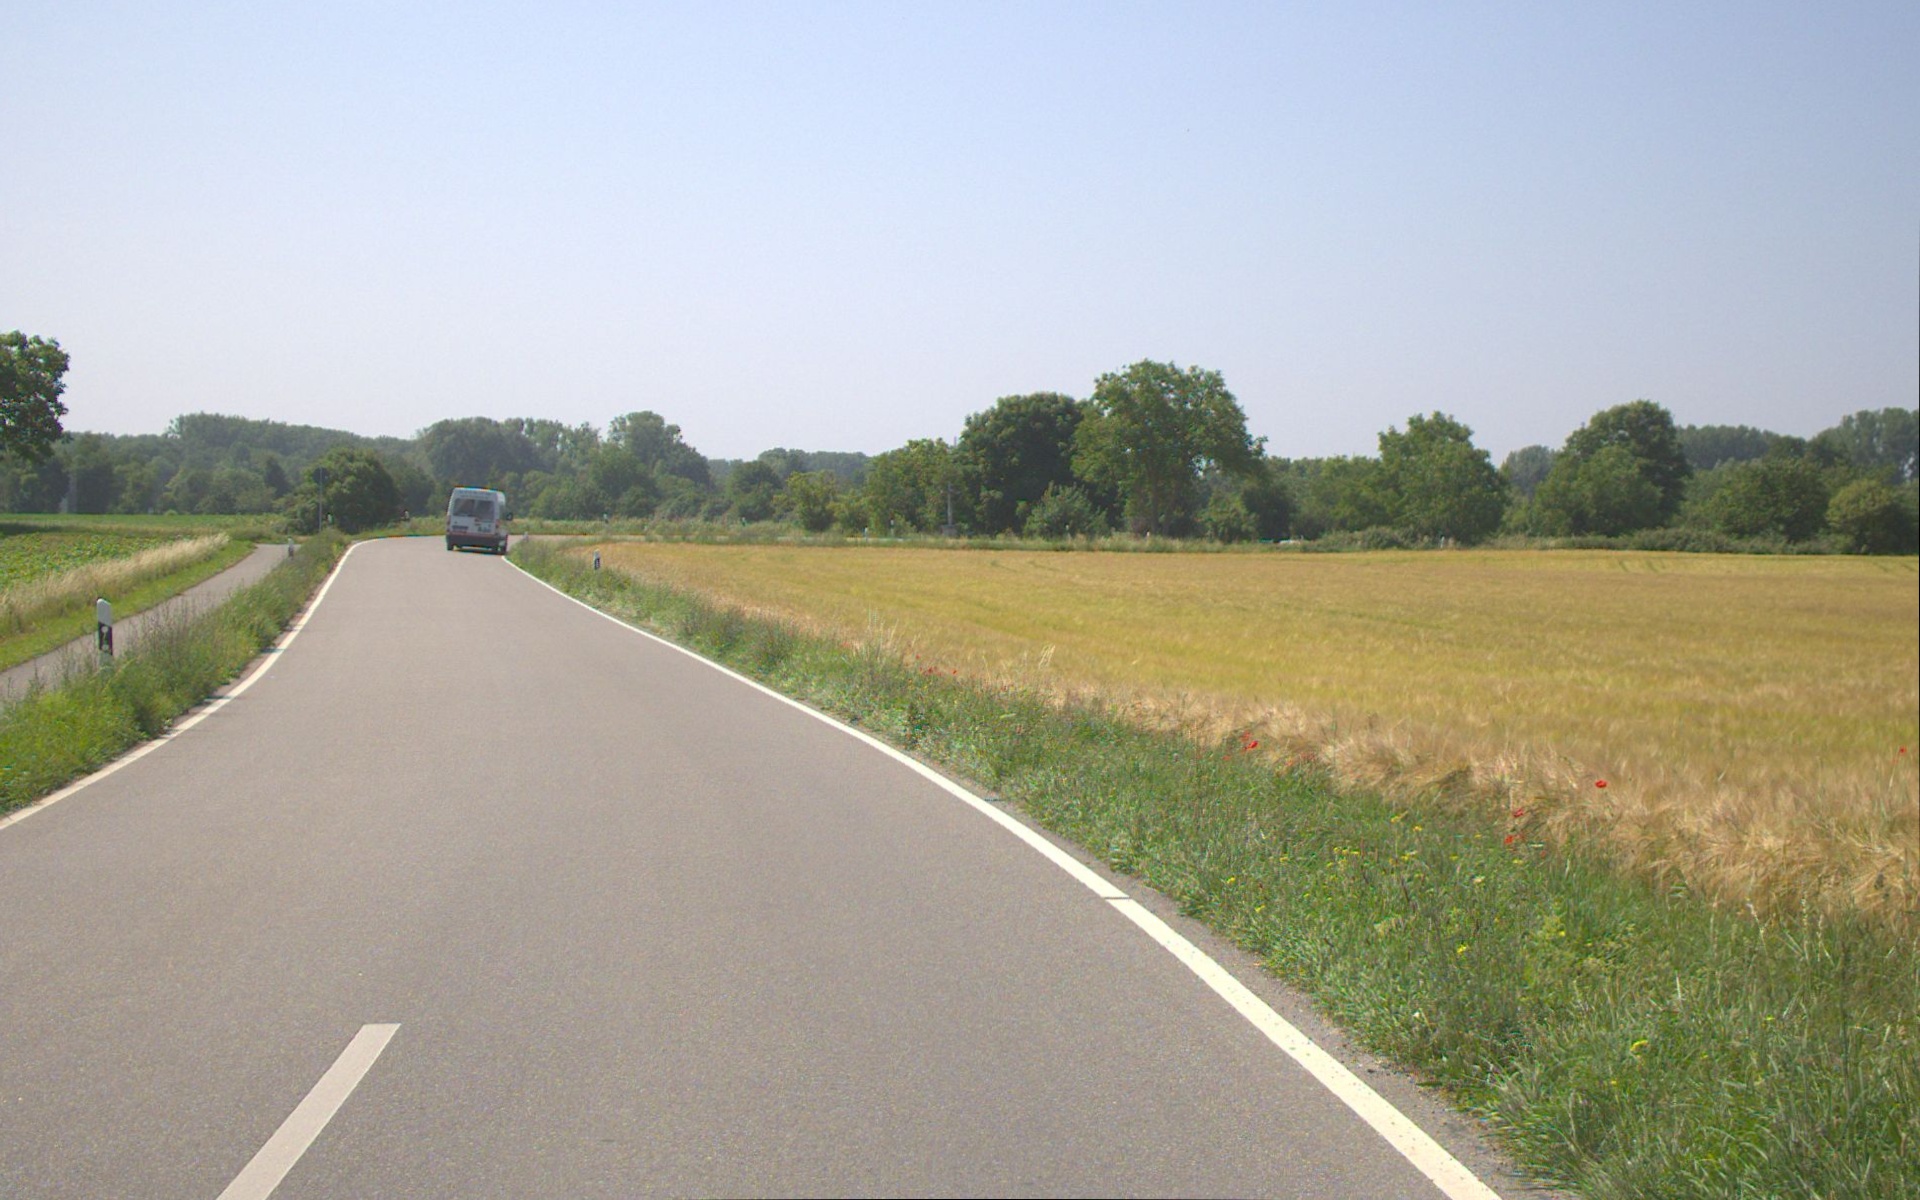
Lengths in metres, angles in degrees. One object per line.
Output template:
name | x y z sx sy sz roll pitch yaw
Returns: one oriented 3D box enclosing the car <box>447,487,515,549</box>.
car | -18.797 -3.251 135.122 2.104 2.359 5.688 1 2 -3
